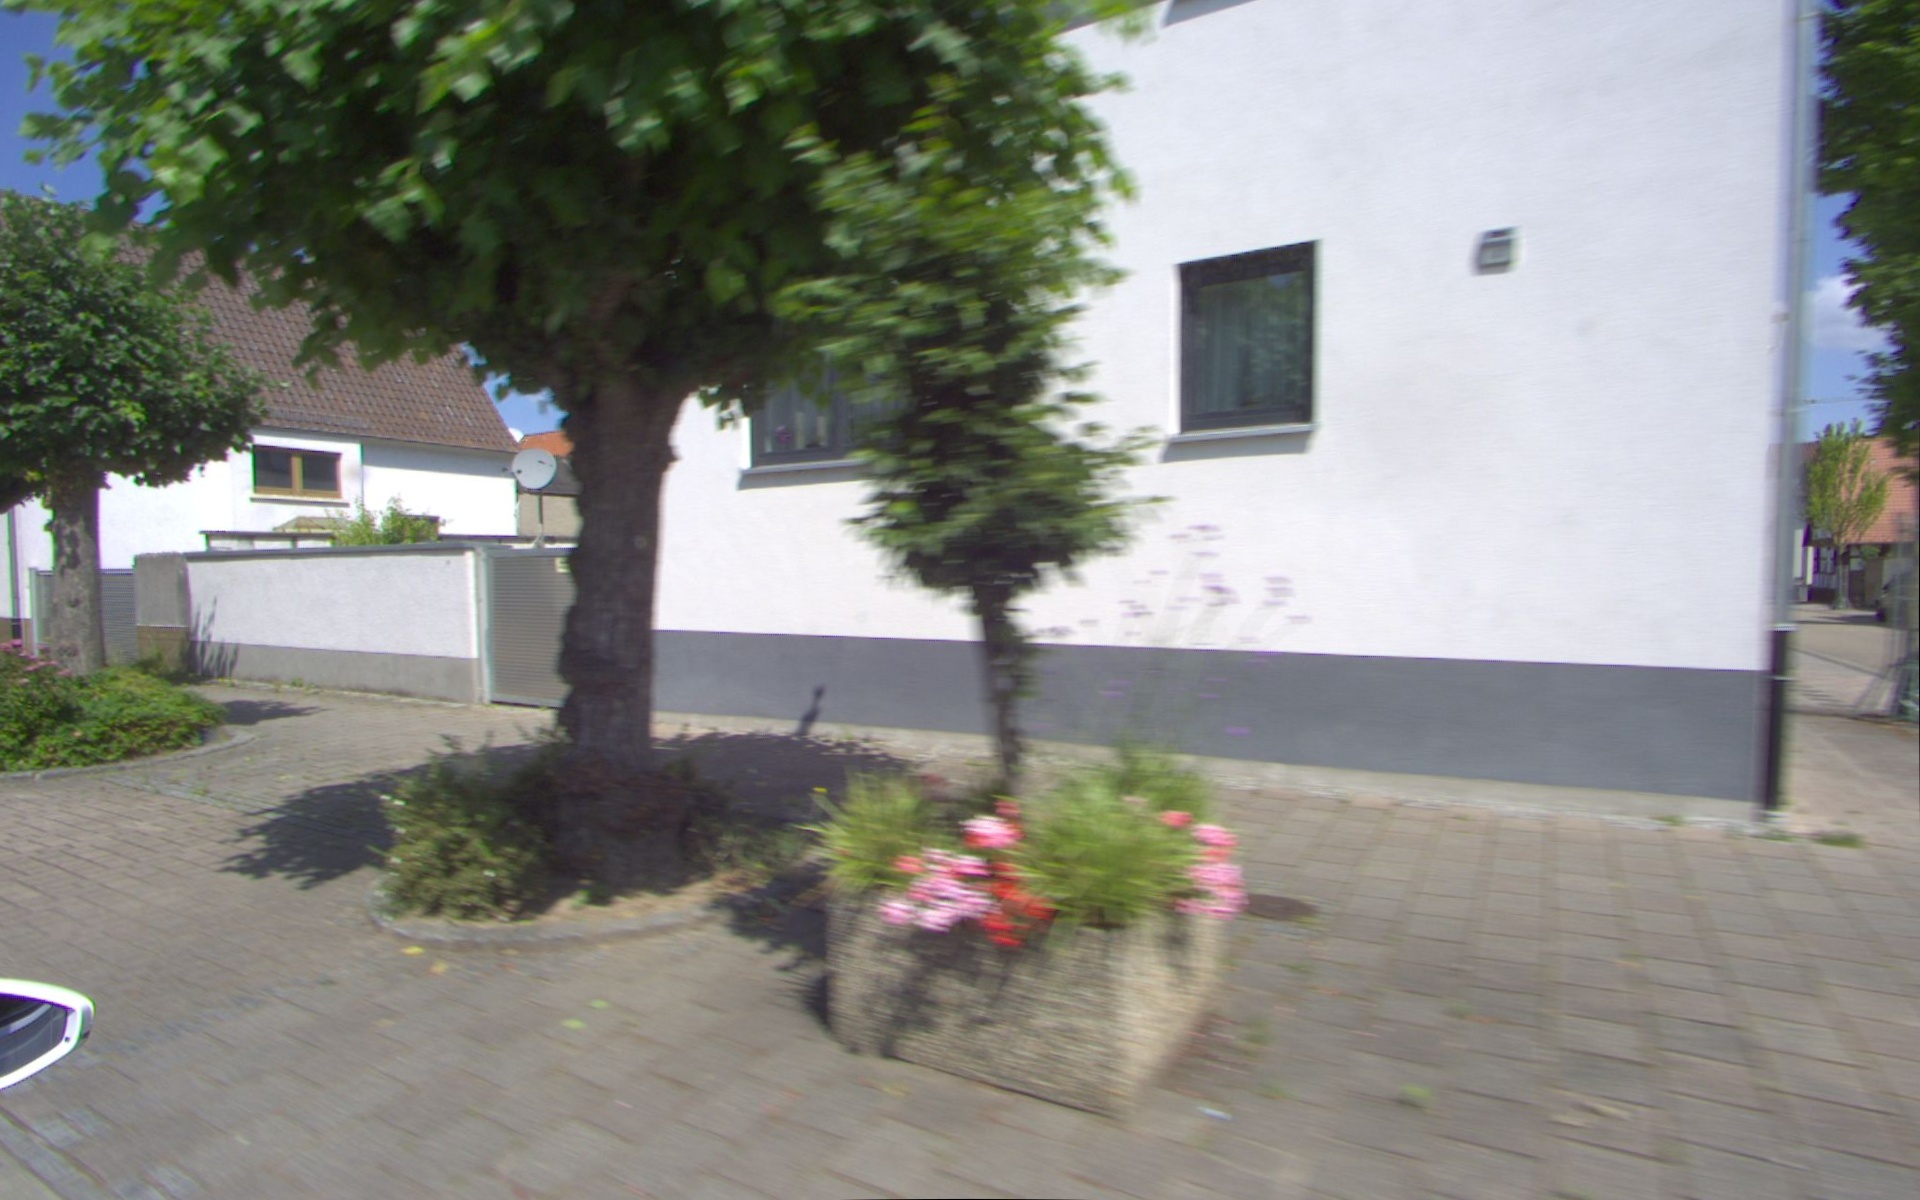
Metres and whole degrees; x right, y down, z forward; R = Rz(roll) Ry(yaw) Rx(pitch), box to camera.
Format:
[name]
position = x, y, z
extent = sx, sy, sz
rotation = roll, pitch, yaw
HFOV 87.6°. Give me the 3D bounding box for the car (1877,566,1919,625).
[car]
position = 28.198, -0.157, 28.947
extent = 1.747, 1.622, 4.043
rotation = 1, 2, 32
